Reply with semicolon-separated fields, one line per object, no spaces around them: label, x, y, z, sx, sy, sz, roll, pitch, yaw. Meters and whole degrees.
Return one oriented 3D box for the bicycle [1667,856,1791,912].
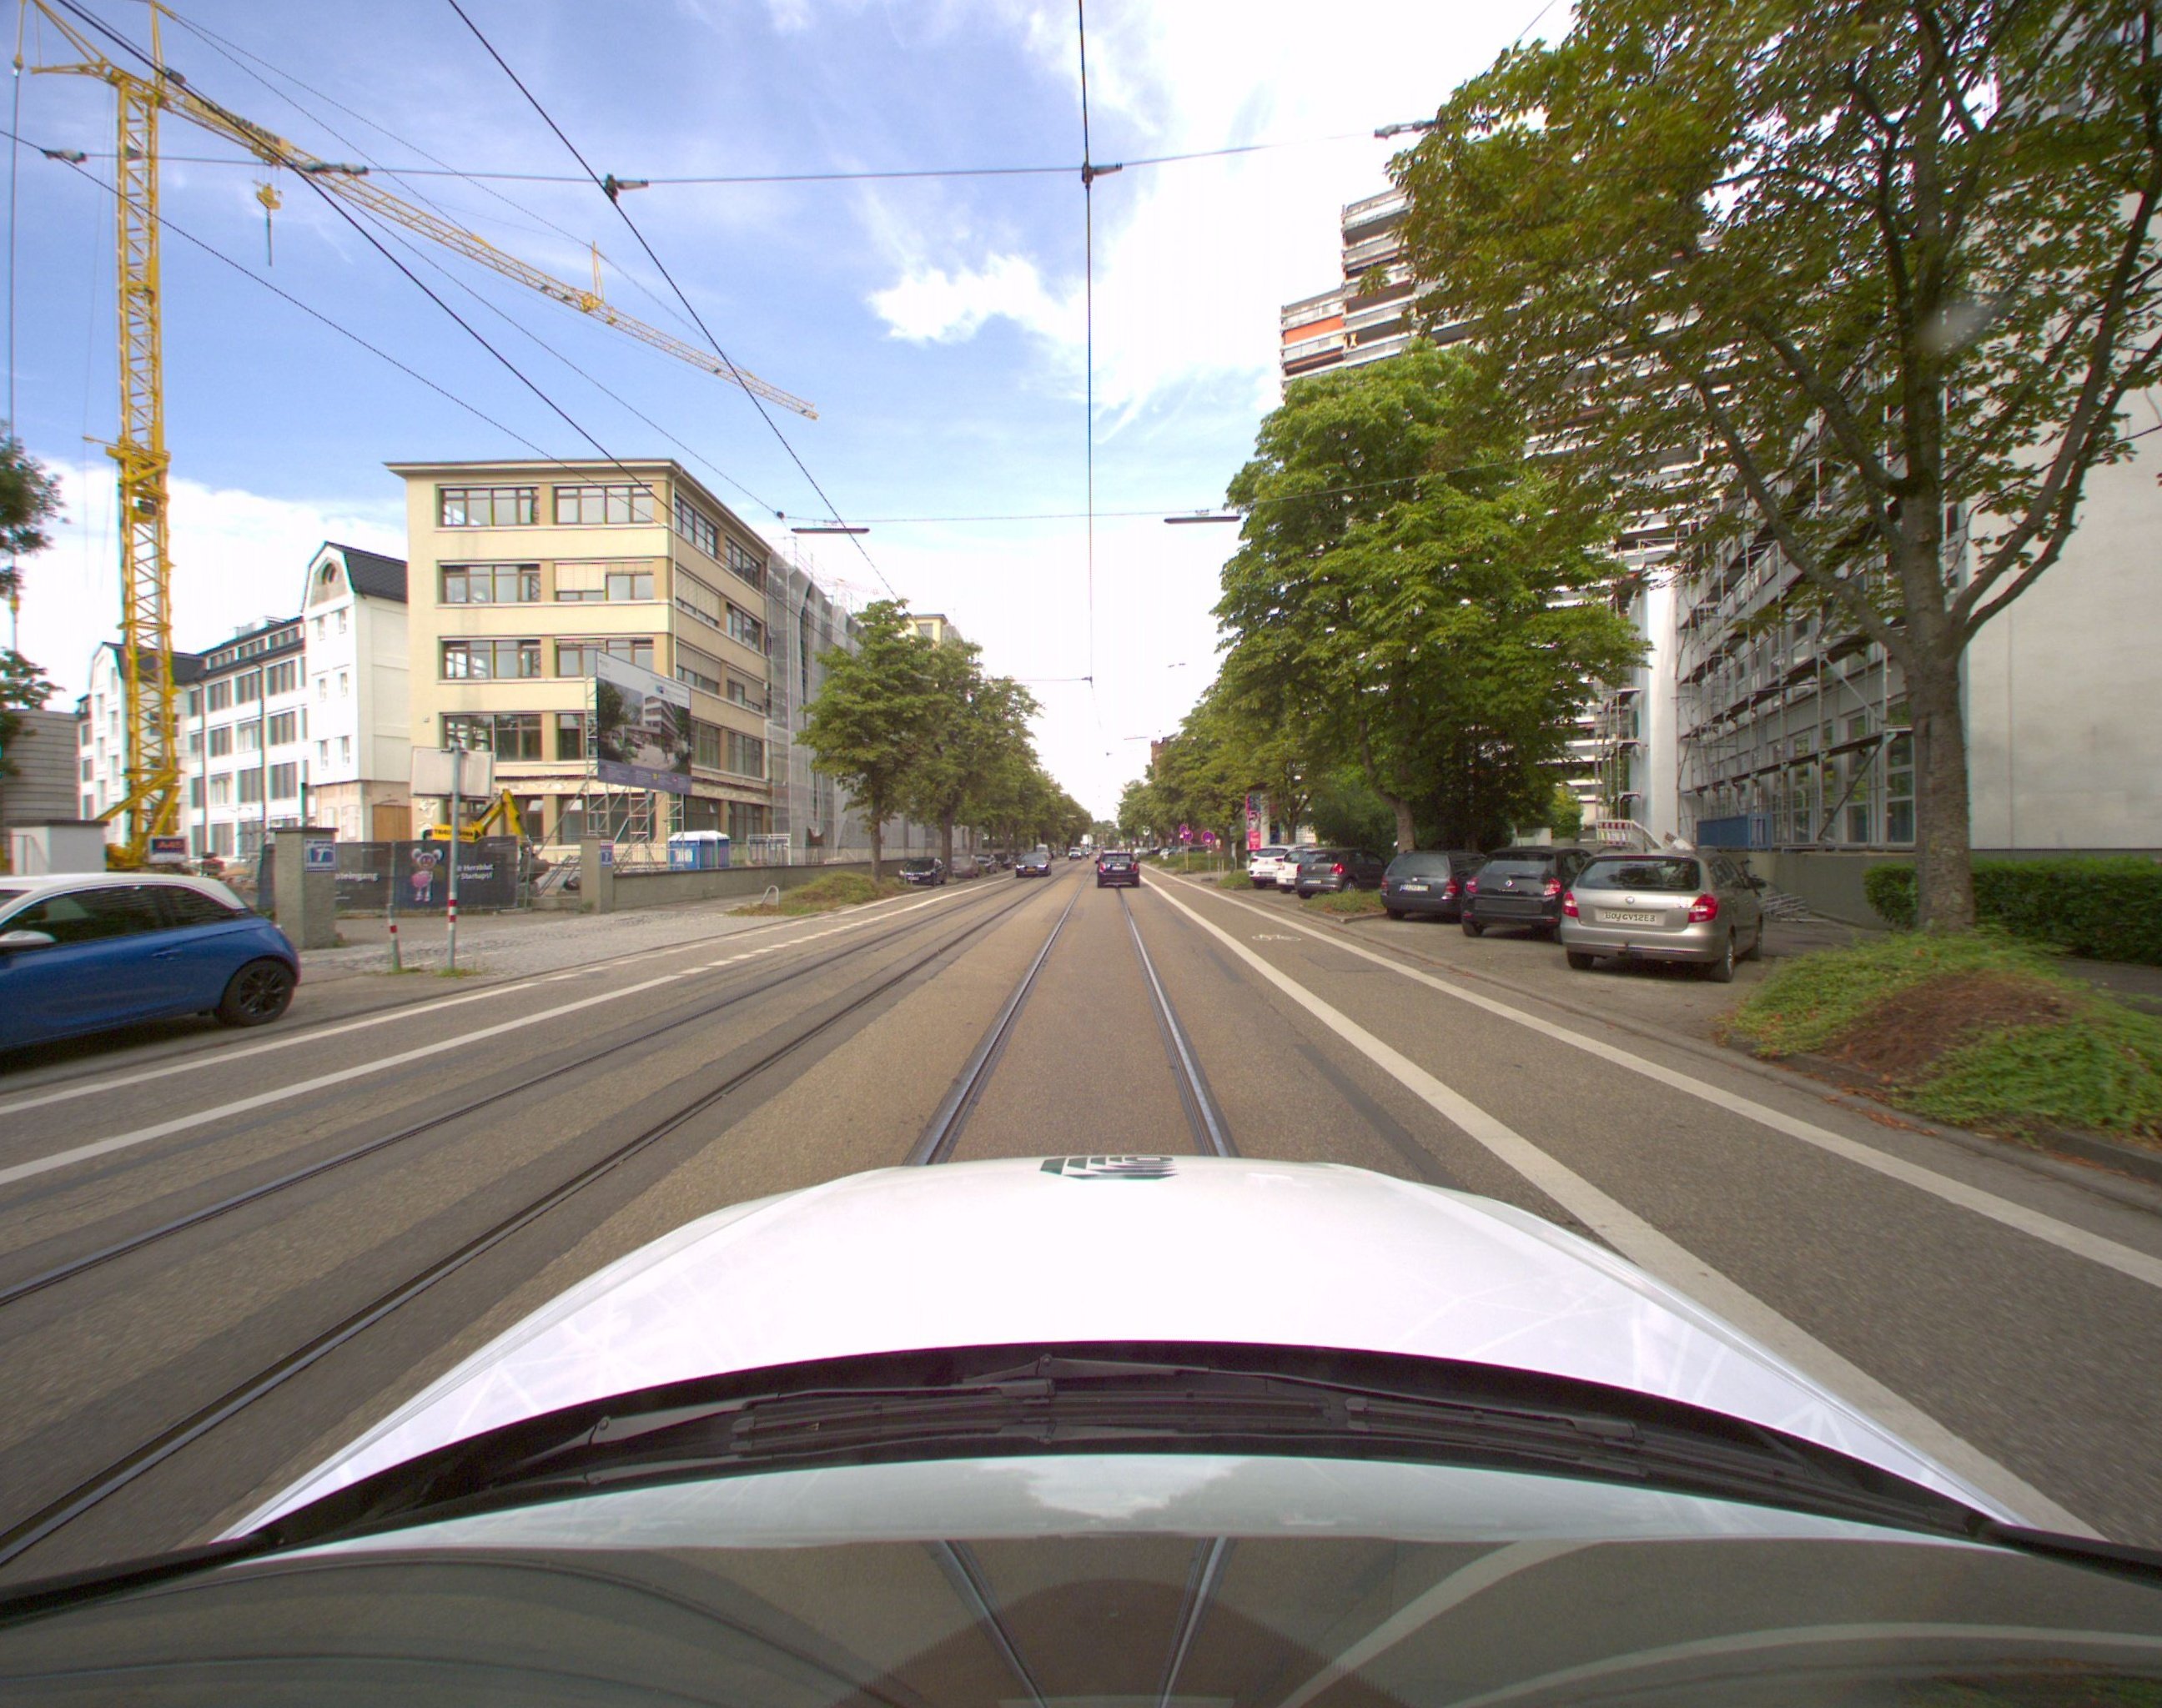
bicycle;13.593;0.647;17.160;1.948;1.128;0.542;-2;-1;31

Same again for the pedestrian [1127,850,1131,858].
pedestrian;10.513;0.007;179.181;0.721;1.646;0.769;0;0;11

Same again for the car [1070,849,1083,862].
car;-0.694;0.189;119.539;1.796;1.823;4.485;-2;0;1

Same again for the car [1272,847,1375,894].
car;8.059;0.494;26.952;3.463;1.442;1.542;-1;0;-38

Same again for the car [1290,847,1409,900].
car;7.896;0.521;23.824;3.552;1.442;1.605;-1;0;-38

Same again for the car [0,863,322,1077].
car;-8.595;0.850;6.444;1.687;1.487;3.677;0;0;1

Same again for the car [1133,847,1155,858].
car;11.859;-0.281;152.779;3.976;1.910;1.999;0;0;-2

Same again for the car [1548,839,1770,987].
car;7.417;0.604;10.307;3.761;1.522;1.620;0;0;-44

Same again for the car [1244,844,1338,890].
car;7.763;0.435;30.037;3.463;1.573;1.542;-1;0;-38

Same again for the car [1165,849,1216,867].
car;9.185;0.311;68.664;3.976;1.425;1.883;-1;0;-2

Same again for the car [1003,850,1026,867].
car;-6.557;0.420;80.326;1.796;1.583;4.031;-2;0;1

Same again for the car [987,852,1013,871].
car;-6.943;0.624;70.177;1.796;1.583;4.031;-2;0;1

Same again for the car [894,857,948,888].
car;-7.815;0.875;40.181;1.796;1.374;4.031;-2;0;1

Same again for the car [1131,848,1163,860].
car;8.633;-0.060;106.620;3.976;1.508;1.883;-1;0;-2

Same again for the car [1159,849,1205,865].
car;9.370;0.252;75.565;3.976;1.425;1.883;-1;0;-2

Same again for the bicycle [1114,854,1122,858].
bicycle;7.931;0.442;174.828;1.710;0.991;0.660;0;0;10

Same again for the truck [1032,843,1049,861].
truck;-5.607;-0.271;113.871;2.064;2.470;4.899;-2;0;1

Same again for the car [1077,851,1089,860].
car;0.352;0.246;138.906;1.796;1.622;4.485;-2;0;1

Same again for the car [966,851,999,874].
car;-7.136;0.610;59.442;1.796;1.583;4.031;-2;0;1

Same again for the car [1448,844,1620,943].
car;8.049;0.599;14.335;3.761;1.522;1.620;0;0;-44

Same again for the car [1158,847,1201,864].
car;9.741;0.105;80.966;3.976;1.627;1.883;-1;0;-2

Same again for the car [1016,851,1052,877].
car;-2.752;0.546;48.605;1.828;1.448;4.554;-1;0;1

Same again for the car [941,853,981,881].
car;-7.414;0.760;50.572;1.796;1.583;4.031;-2;0;1

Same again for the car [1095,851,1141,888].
car;1.485;0.606;33.638;1.787;1.423;4.001;0;0;1

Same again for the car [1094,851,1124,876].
car;1.737;0.554;51.808;1.787;1.470;4.000;1;0;1

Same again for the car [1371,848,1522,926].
car;7.743;0.605;17.112;3.761;1.458;1.620;0;0;-44

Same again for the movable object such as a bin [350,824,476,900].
movable object such as a bin;-19.137;0.213;23.419;1.978;2.067;1.962;0;0;3
